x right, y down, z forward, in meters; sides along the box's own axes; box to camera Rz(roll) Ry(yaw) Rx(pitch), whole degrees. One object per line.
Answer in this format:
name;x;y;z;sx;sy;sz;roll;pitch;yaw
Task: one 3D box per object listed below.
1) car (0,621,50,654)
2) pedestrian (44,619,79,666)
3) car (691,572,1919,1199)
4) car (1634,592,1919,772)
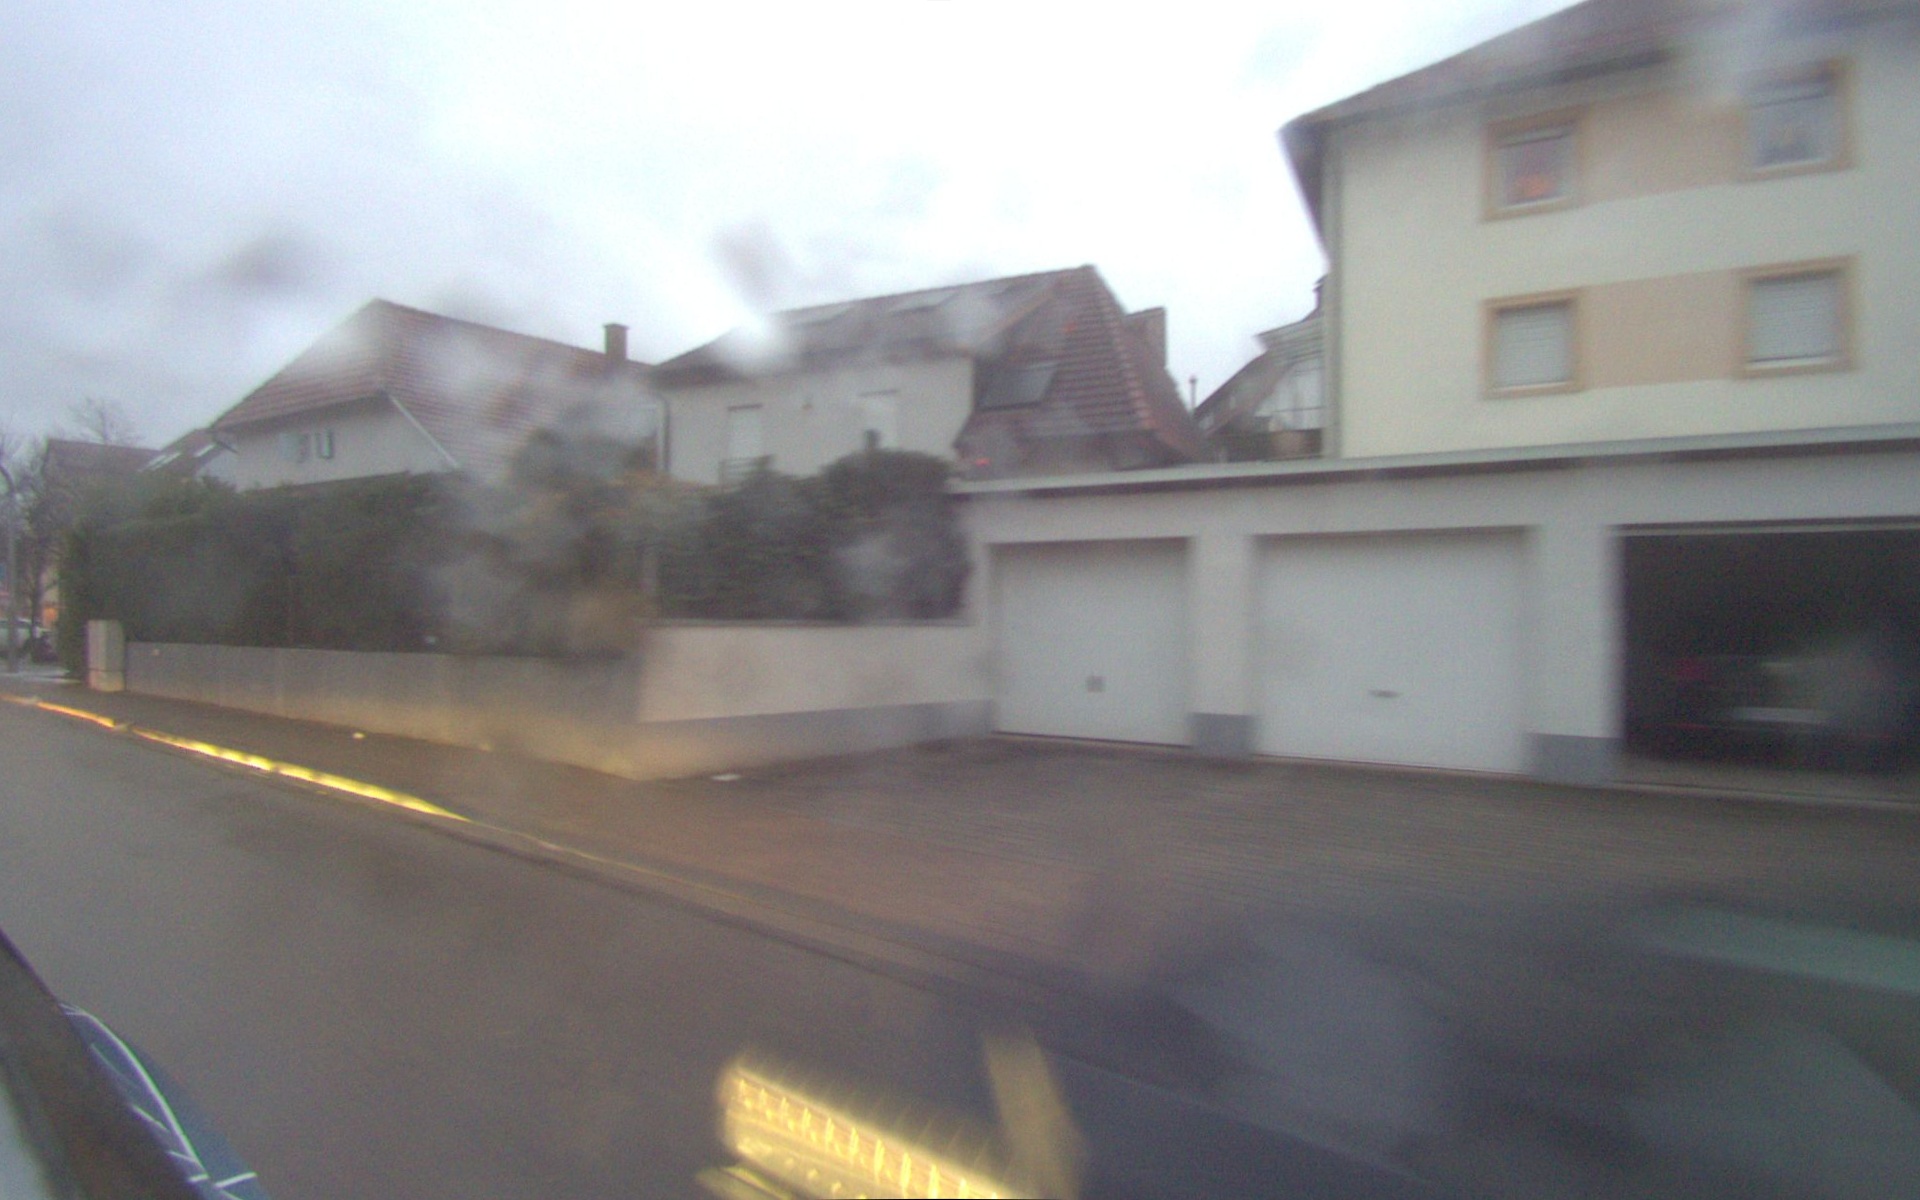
car;-43.463;1.725;45.565;3.426;1.420;1.615;-1;0;-30
pedestrian;-34.695;1.631;39.069;0.955;1.748;0.871;-2;-1;40
car;1.988;0.676;0.393;4.361;1.412;1.850;-1;-1;39
car;7.962;0.681;10.065;1.994;1.413;3.955;-1;-1;33
